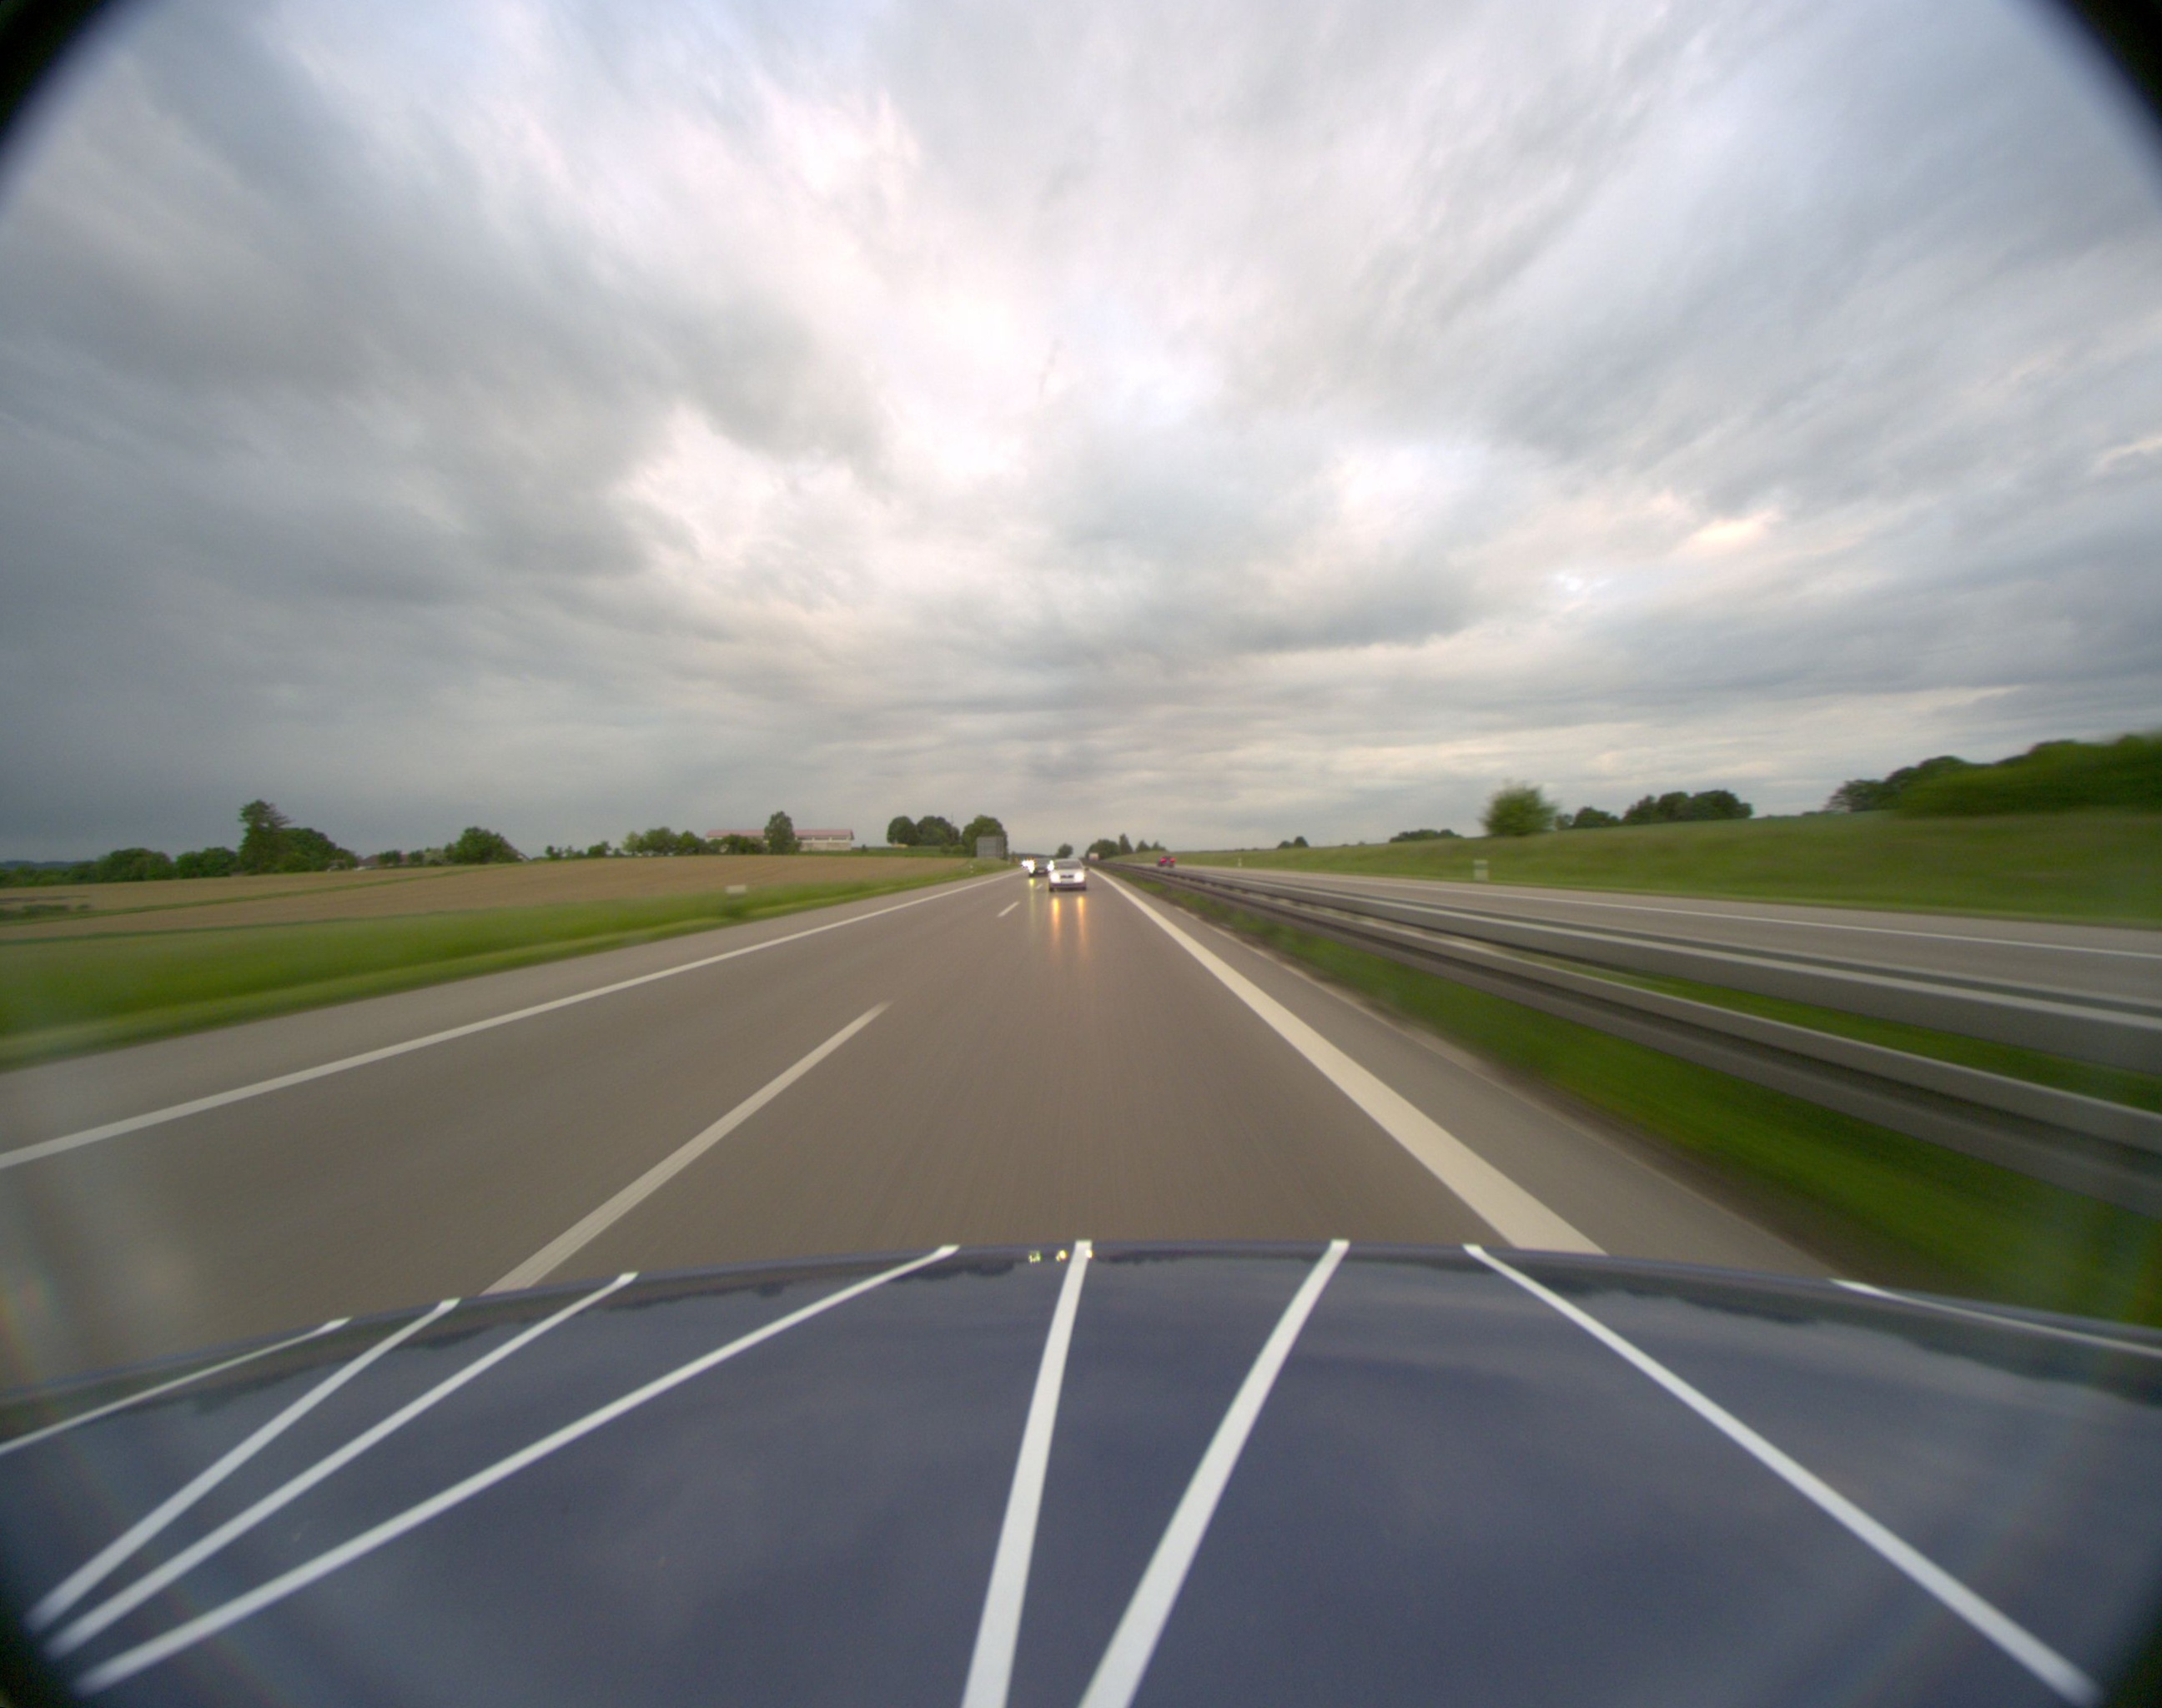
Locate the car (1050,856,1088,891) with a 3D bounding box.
[{"bbox_3d":[-0.519,0.837,34.303,1.592,1.381,4.600,0,1,0],"label":"car"}]

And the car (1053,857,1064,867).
[{"bbox_3d":[-4.103,1.433,137.850,1.807,1.619,3.902,-1,1,-4],"label":"car"}]

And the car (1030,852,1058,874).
[{"bbox_3d":[-2.876,0.663,59.998,1.951,1.620,4.535,-1,1,0],"label":"car"}]

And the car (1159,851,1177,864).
[{"bbox_3d":[11.522,0.496,101.407,1.702,1.654,4.462,-3,0,-2],"label":"car"}]
